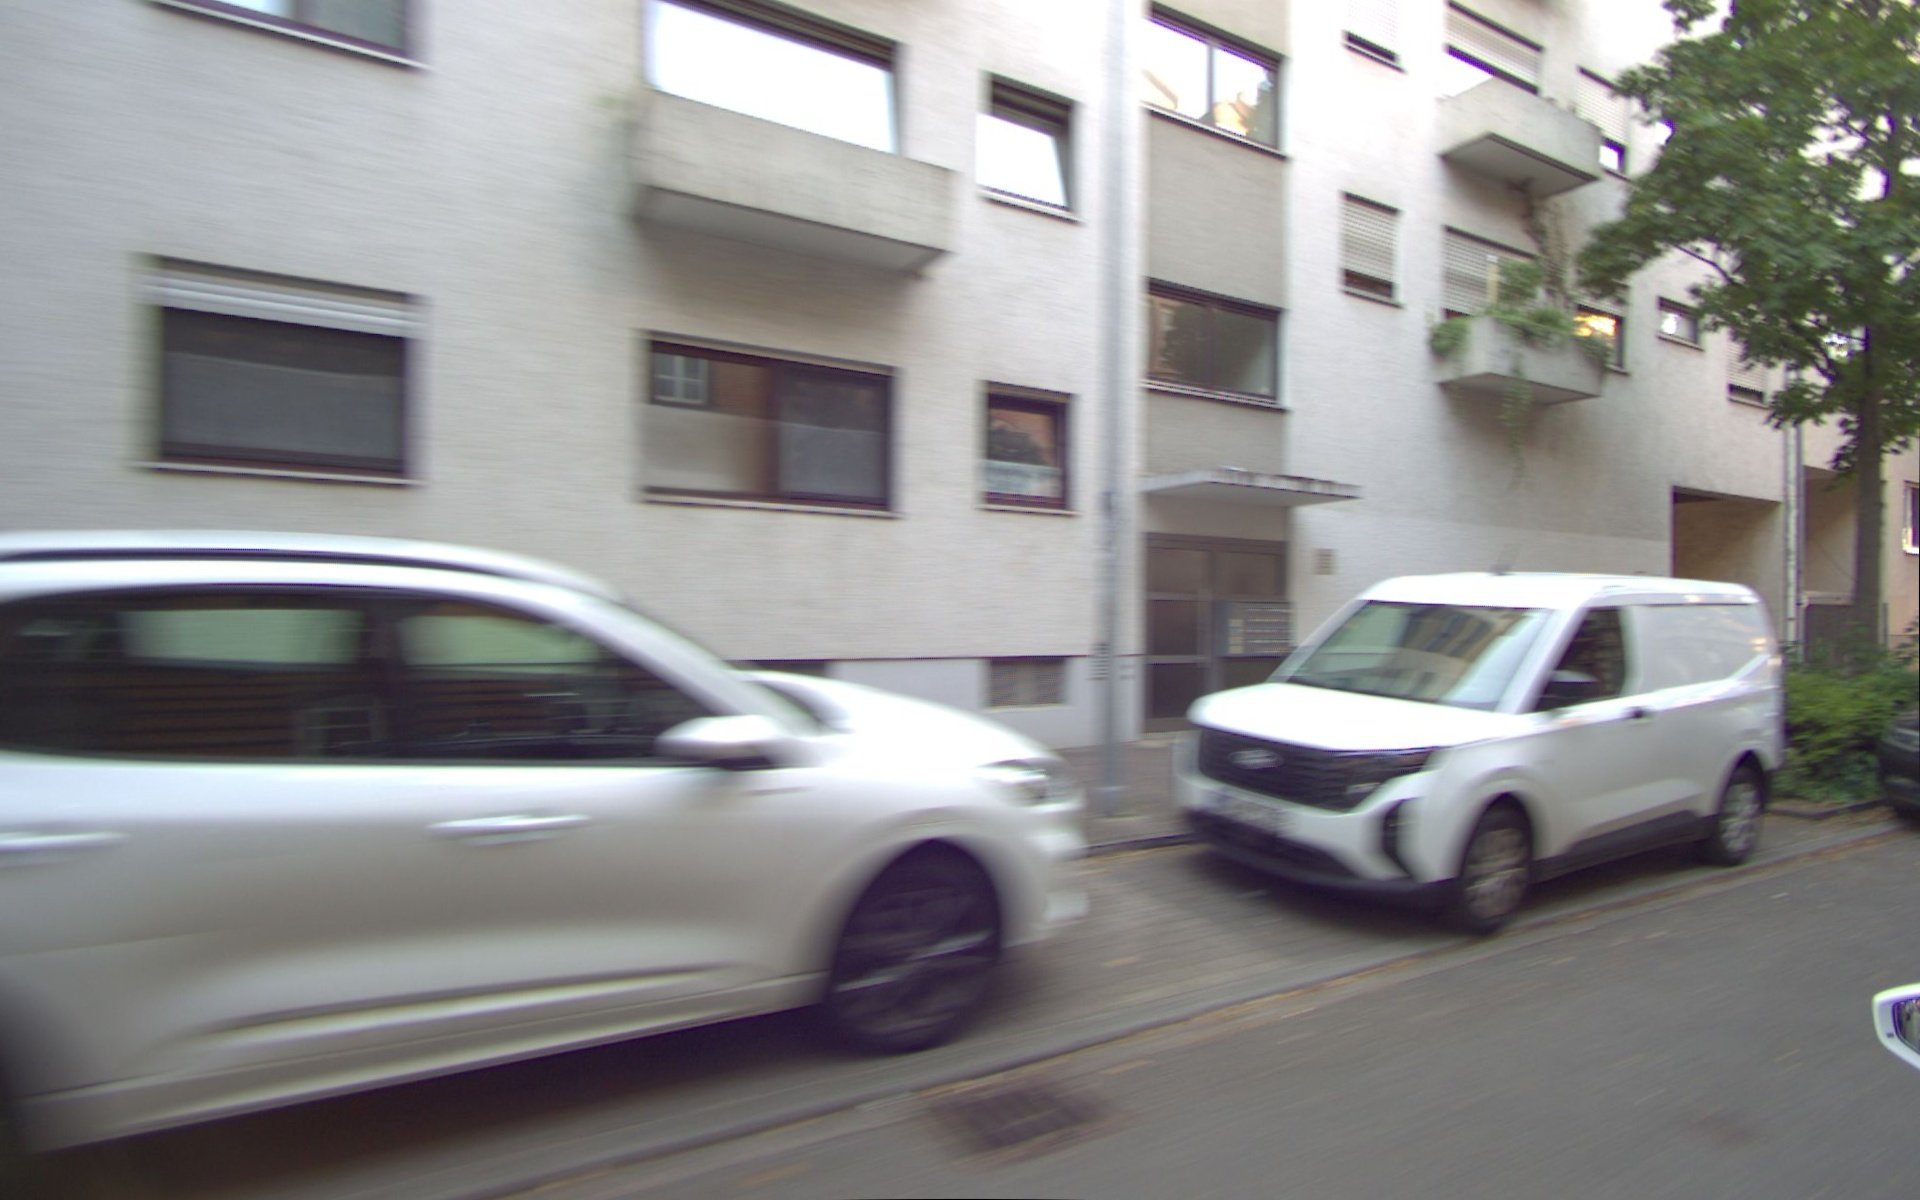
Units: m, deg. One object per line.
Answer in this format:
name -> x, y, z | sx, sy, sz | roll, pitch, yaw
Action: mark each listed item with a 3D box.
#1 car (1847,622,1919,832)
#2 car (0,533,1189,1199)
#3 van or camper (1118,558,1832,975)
car -> 8.930, 0.936, 7.733 | 4.449, 1.471, 1.838 | 1, 0, -30
car -> -1.604, 0.670, 3.605 | 4.595, 1.695, 2.023 | 1, 2, -31
van or camper -> 3.334, 0.711, 6.298 | 4.414, 1.783, 1.920 | 1, 2, -32
